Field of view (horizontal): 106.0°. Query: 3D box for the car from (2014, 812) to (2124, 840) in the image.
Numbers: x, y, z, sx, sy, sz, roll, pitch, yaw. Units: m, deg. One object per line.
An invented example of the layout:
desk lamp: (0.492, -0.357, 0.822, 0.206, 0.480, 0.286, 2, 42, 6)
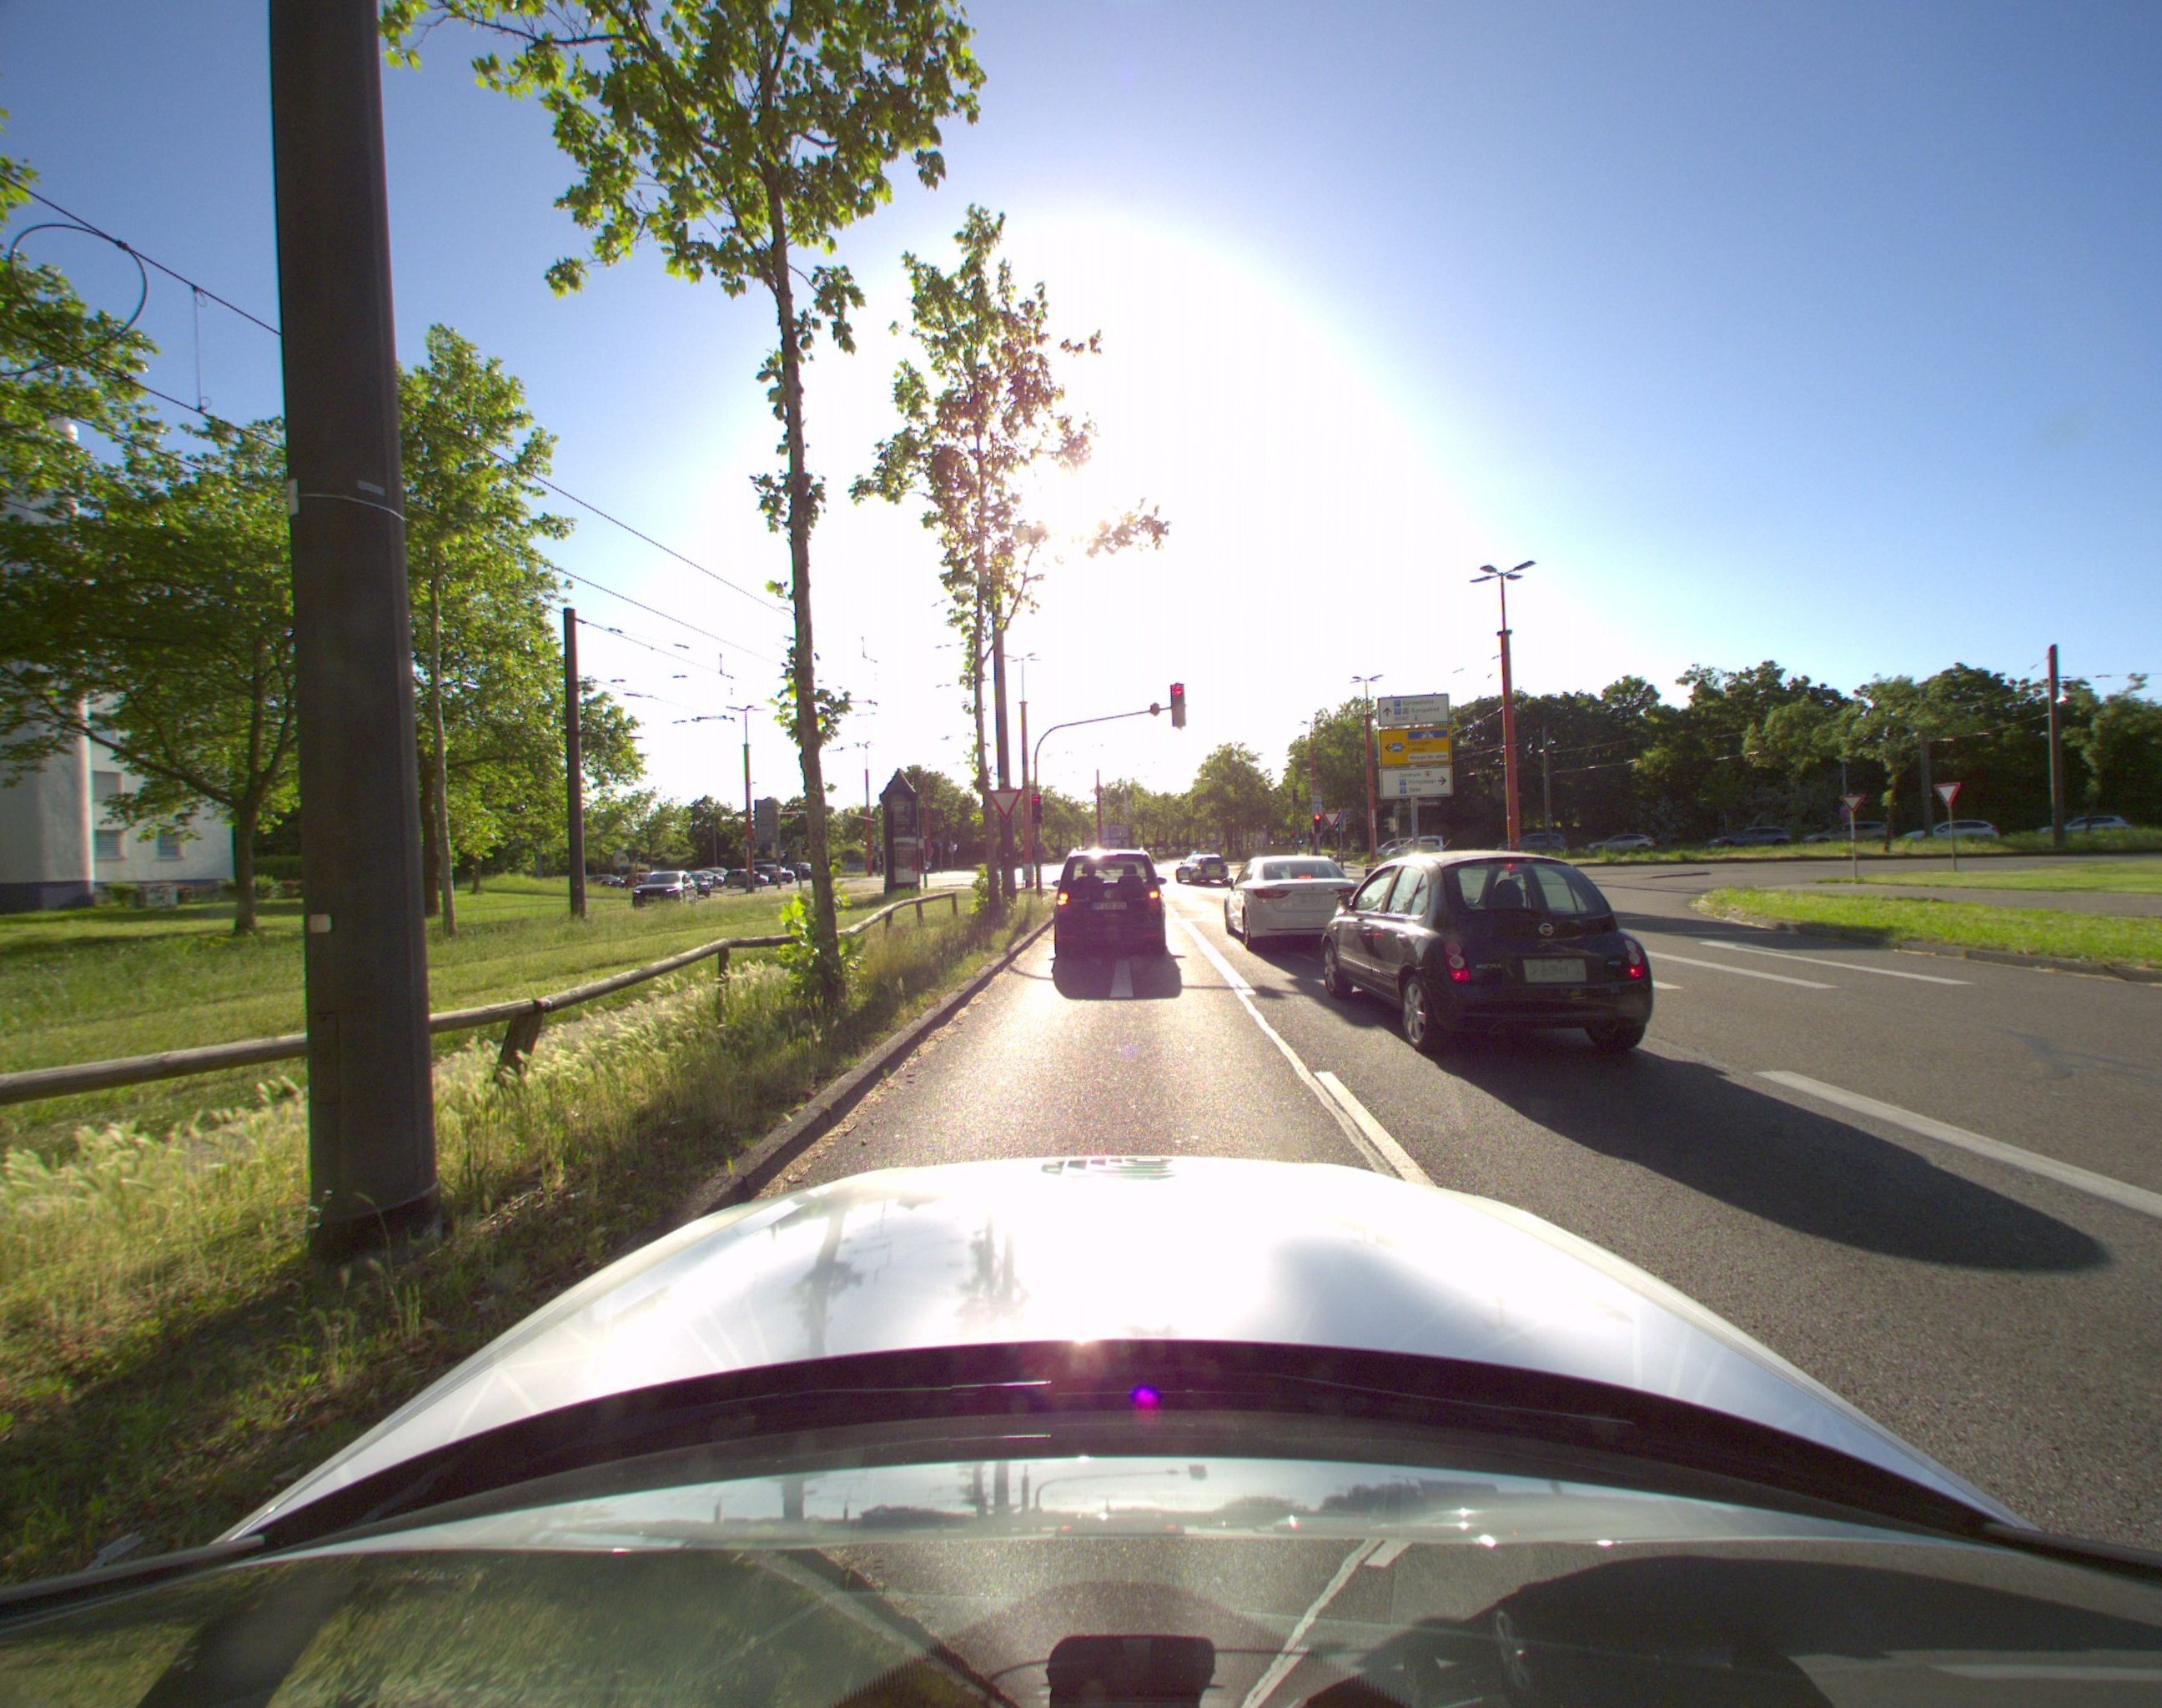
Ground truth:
car: (57.547, -1.595, 47.527, 3.699, 1.473, 1.611, -2, 0, 30)

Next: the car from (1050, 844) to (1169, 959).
car: (0.476, 0.696, 13.796, 1.694, 1.621, 3.898, -2, 0, 2)

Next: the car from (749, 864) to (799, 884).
car: (-26.121, 1.705, 69.315, 3.948, 1.644, 2.013, -2, 0, 33)

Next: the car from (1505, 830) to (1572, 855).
car: (32.591, -0.806, 58.096, 4.139, 1.644, 1.770, -1, -1, 29)

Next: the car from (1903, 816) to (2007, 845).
car: (51.235, -1.351, 47.846, 3.782, 1.523, 1.706, -2, 0, 31)

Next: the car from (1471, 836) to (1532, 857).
car: (32.044, -0.542, 62.142, 4.082, 1.511, 1.834, -1, -1, 28)

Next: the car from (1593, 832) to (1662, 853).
car: (38.896, -0.792, 58.067, 3.926, 1.441, 1.697, -1, -1, 29)

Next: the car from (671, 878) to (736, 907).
car: (-23.051, 2.327, 49.866, 1.799, 1.522, 4.332, -2, 0, 2)

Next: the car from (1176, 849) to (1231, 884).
car: (6.273, 0.614, 42.162, 1.795, 1.656, 4.105, -2, 0, -6)

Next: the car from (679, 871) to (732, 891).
car: (-31.802, 2.286, 68.879, 4.135, 1.612, 1.880, -2, 0, 27)

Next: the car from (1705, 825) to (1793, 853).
car: (42.903, -0.961, 52.393, 4.080, 1.598, 1.840, -2, 0, 29)

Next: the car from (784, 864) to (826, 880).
car: (-26.099, 1.697, 76.994, 3.948, 1.330, 1.709, -2, 0, 33)

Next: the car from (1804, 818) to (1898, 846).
car: (49.904, -1.399, 52.906, 4.080, 1.644, 1.864, -2, 0, 31)

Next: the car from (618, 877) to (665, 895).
car: (-39.043, 2.863, 72.321, 3.949, 1.513, 1.743, -2, 0, 28)

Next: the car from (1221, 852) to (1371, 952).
car: (3.503, 0.704, 14.024, 1.713, 1.438, 4.202, -1, 0, 4)

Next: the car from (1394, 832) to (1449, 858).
car: (25.893, -0.688, 61.942, 3.797, 1.890, 1.774, -1, -1, 26)

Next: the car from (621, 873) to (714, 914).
car: (-17.744, 1.652, 35.184, 1.758, 1.512, 4.104, -2, 0, 2)

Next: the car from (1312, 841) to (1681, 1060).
car: (3.382, 0.670, 7.440, 1.647, 1.500, 3.617, -1, 0, 3)

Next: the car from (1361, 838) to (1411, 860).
car: (24.761, -0.383, 66.091, 3.607, 1.655, 1.690, -1, -1, 27)
